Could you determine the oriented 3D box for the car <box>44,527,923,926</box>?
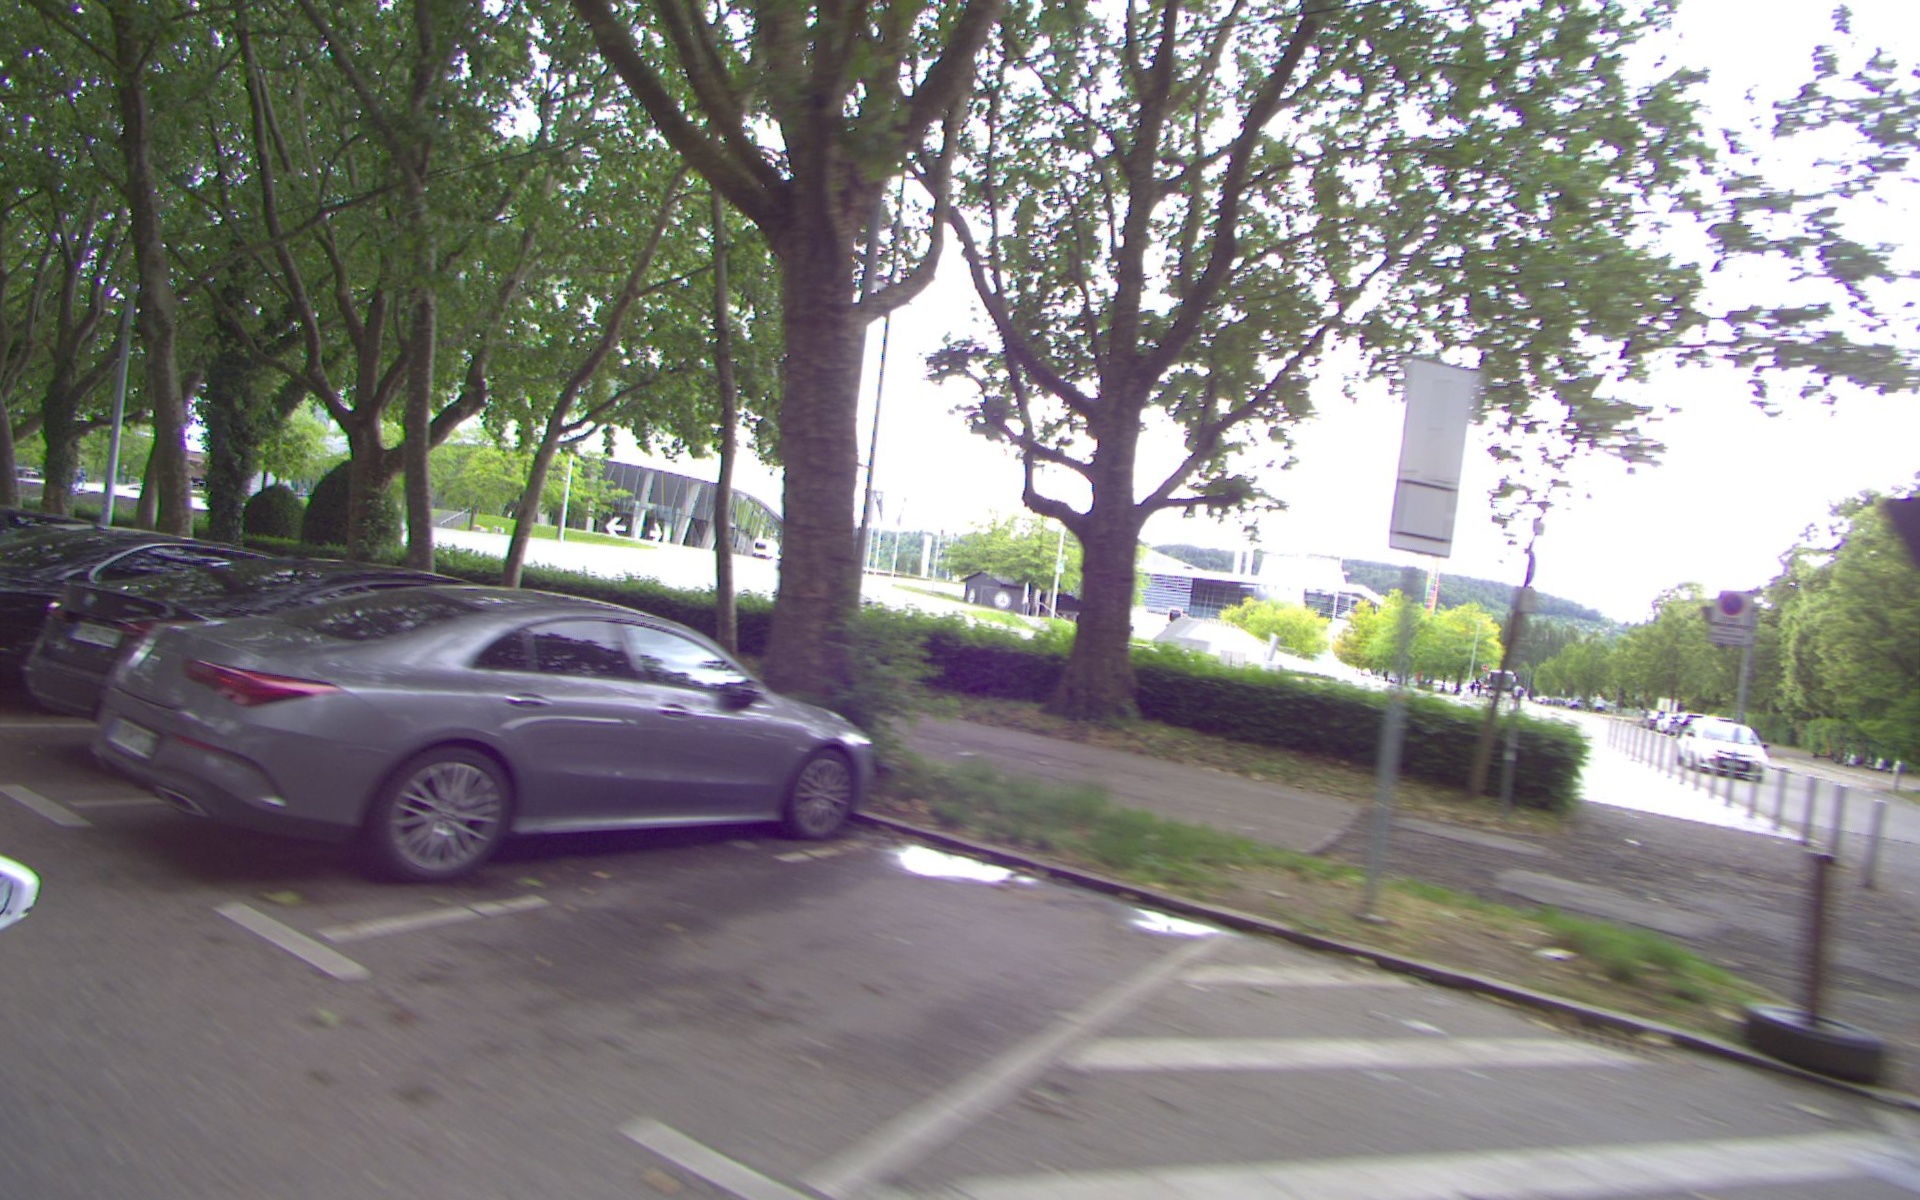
[{"bbox_3d":[-2.323,0.704,6.234,1.691,1.433,4.595,7,-2,34],"label":"car"}]

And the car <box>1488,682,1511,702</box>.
[{"bbox_3d":[65.088,11.148,121.429,1.968,2.037,3.994,6,-2,33],"label":"car"}]

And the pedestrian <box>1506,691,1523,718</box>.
[{"bbox_3d":[35.641,6.702,64.683,0.685,1.663,0.725,7,-1,24],"label":"pedestrian"}]

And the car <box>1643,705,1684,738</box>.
[{"bbox_3d":[51.356,8.850,73.534,1.967,2.037,3.995,6,-2,31],"label":"car"}]

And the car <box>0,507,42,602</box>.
[{"bbox_3d":[-17.056,-1.018,15.232,1.754,1.472,4.209,8,-2,27],"label":"car"}]

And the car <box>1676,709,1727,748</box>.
[{"bbox_3d":[45.754,7.926,62.151,1.967,2.037,3.995,6,-2,31],"label":"car"}]

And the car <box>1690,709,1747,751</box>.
[{"bbox_3d":[42.951,7.353,57.065,1.967,2.037,3.995,6,-2,31],"label":"car"}]

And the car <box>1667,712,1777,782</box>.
[{"bbox_3d":[21.935,4.177,29.112,1.754,1.479,4.285,7,-1,29],"label":"car"}]

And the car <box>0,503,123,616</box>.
[{"bbox_3d":[-14.929,-0.809,14.293,1.754,1.472,4.209,8,-2,27],"label":"car"}]

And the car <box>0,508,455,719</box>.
[{"bbox_3d":[-6.727,0.157,8.655,1.690,1.433,3.839,7,-2,31],"label":"car"}]

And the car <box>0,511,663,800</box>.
[{"bbox_3d":[-4.463,0.452,7.672,1.877,1.433,4.031,8,-2,25],"label":"car"}]

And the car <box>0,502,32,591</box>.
[{"bbox_3d":[-18.759,-1.253,16.895,1.754,1.535,4.209,8,-2,27],"label":"car"}]

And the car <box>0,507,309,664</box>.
[{"bbox_3d":[-10.383,-0.208,11.900,1.754,1.463,4.025,8,-2,31],"label":"car"}]

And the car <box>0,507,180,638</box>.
[{"bbox_3d":[-12.732,-0.514,12.704,1.880,1.463,4.030,8,-2,25],"label":"car"}]

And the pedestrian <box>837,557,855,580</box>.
[{"bbox_3d":[-11.142,-3.078,98.252,1.093,2.038,1.159,6,0,41],"label":"pedestrian"}]

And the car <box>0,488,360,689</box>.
[{"bbox_3d":[-8.785,-0.177,9.764,2.020,1.641,4.534,7,-2,31],"label":"car"}]
